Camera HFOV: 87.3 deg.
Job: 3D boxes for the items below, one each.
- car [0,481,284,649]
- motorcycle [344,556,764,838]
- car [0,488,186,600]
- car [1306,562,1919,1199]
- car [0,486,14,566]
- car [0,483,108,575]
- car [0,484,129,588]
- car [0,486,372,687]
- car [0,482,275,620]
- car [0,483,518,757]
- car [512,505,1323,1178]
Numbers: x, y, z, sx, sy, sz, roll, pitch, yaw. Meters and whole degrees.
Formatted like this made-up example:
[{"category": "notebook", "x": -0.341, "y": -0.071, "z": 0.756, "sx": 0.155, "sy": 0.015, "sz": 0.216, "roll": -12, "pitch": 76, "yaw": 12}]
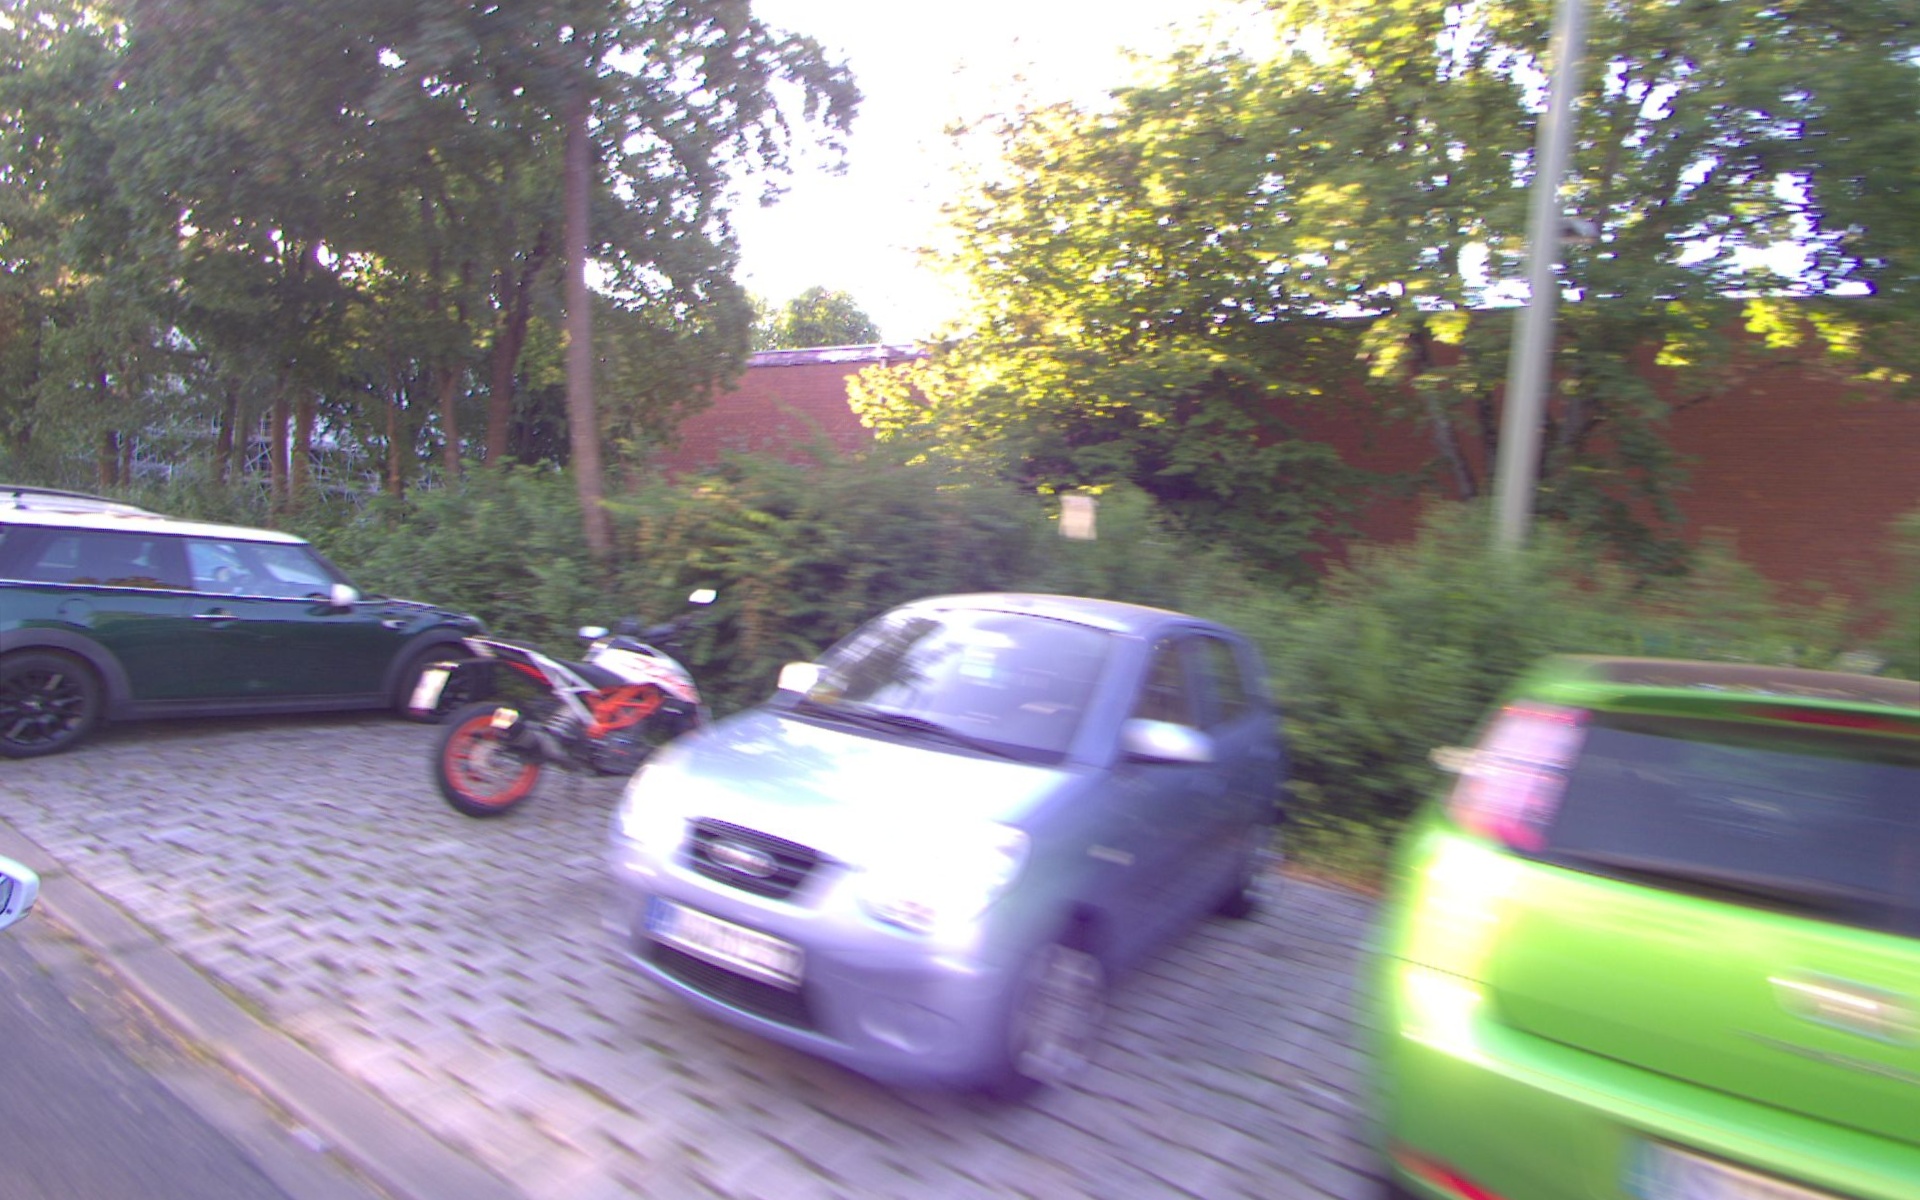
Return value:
[{"category": "car", "x": -9.405, "y": -0.393, "z": 10.347, "sx": 1.706, "sy": 1.573, "sz": 3.666, "roll": 6, "pitch": 2, "yaw": 31}, {"category": "motorcycle", "x": -2.258, "y": 0.515, "z": 5.879, "sx": 0.767, "sy": 1.321, "sz": 2.089, "roll": 6, "pitch": 1, "yaw": 39}, {"category": "car", "x": -13.180, "y": -0.811, "z": 13.752, "sx": 1.728, "sy": 1.414, "sz": 3.747, "roll": 5, "pitch": 2, "yaw": 33}, {"category": "car", "x": 2.433, "y": 0.922, "z": 3.118, "sx": 1.645, "sy": 1.559, "sz": 3.630, "roll": 7, "pitch": -1, "yaw": 33}, {"category": "car", "x": -19.771, "y": -1.527, "z": 17.790, "sx": 1.803, "sy": 1.494, "sz": 4.118, "roll": 6, "pitch": 2, "yaw": 34}, {"category": "car", "x": -17.148, "y": -1.299, "z": 17.029, "sx": 1.803, "sy": 1.494, "sz": 3.805, "roll": 5, "pitch": 2, "yaw": 33}, {"category": "car", "x": -15.168, "y": -1.042, "z": 15.097, "sx": 1.728, "sy": 1.494, "sz": 3.805, "roll": 5, "pitch": 2, "yaw": 33}, {"category": "car", "x": -7.302, "y": -0.150, "z": 8.462, "sx": 1.706, "sy": 1.464, "sz": 3.666, "roll": 6, "pitch": 2, "yaw": 31}, {"category": "car", "x": -10.964, "y": -0.591, "z": 12.429, "sx": 1.791, "sy": 1.518, "sz": 3.723, "roll": 5, "pitch": 2, "yaw": 33}, {"category": "car", "x": -5.360, "y": 0.072, "z": 7.286, "sx": 1.644, "sy": 1.546, "sz": 3.610, "roll": 6, "pitch": 2, "yaw": 31}, {"category": "car", "x": 0.206, "y": 0.669, "z": 4.264, "sx": 1.644, "sy": 1.544, "sz": 3.389, "roll": 7, "pitch": -1, "yaw": 33}]
